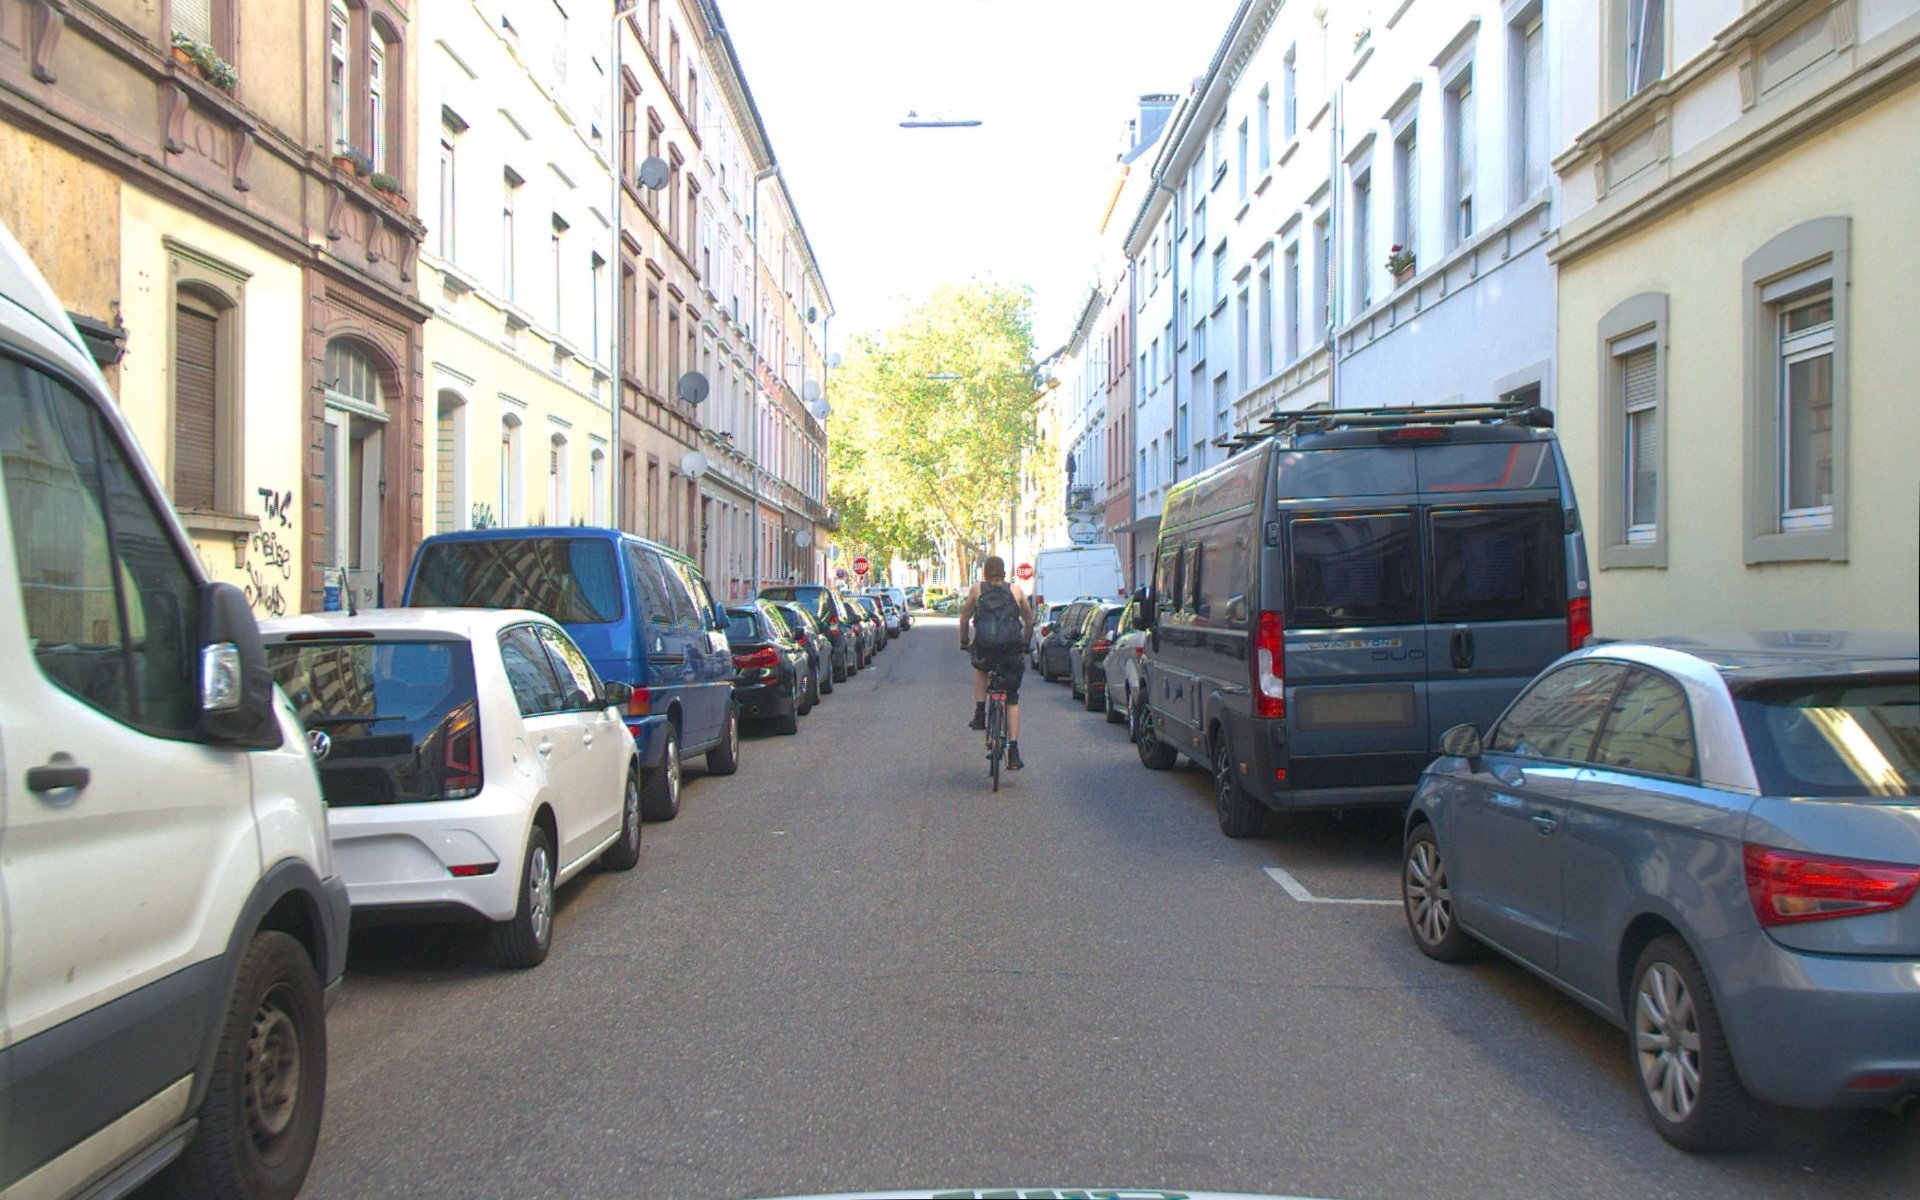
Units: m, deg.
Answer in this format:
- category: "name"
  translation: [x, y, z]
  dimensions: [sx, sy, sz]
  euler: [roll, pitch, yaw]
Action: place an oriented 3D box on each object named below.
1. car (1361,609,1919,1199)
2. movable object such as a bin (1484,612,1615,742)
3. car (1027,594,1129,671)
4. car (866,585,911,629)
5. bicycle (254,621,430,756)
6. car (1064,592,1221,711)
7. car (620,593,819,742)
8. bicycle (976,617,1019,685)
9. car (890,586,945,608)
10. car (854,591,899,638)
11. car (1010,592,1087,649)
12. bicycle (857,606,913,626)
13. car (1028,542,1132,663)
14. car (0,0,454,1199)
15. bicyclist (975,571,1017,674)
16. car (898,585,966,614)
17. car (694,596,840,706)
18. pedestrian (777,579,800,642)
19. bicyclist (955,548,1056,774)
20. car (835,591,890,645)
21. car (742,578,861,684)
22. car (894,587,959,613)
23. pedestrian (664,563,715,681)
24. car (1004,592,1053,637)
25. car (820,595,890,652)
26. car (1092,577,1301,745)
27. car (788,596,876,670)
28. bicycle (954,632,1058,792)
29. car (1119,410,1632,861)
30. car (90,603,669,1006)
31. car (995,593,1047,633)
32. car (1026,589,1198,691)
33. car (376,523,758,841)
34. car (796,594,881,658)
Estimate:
- category: "car"
  translation: [2.857, 0.793, 6.128]
  dimensions: [1.712, 1.469, 4.171]
  euler: [0, 0, 0]
- category: "movable object such as a bin"
  translation: [5.221, 0.667, 14.687]
  dimensions: [0.846, 1.060, 0.707]
  euler: [-3, 0, -3]
- category: "car"
  translation: [2.332, 0.612, 33.510]
  dimensions: [1.690, 1.454, 3.831]
  euler: [-1, 0, -2]
- category: "car"
  translation: [-3.001, 0.274, 70.056]
  dimensions: [1.751, 1.767, 3.875]
  euler: [-1, 0, -1]
- category: "bicycle"
  translation: [-5.505, 0.755, 14.875]
  dimensions: [0.739, 1.038, 2.029]
  euler: [3, 0, 1]
- category: "car"
  translation: [2.514, 0.660, 23.677]
  dimensions: [1.710, 1.511, 4.242]
  euler: [-1, 0, -1]
- category: "car"
  translation: [-2.691, 0.690, 19.487]
  dimensions: [1.824, 1.465, 4.643]
  euler: [-1, 1, -2]
- category: "bicycle"
  translation: [0.618, 0.833, 27.800]
  dimensions: [0.650, 1.055, 1.958]
  euler: [-1, 0, 0]
- category: "car"
  translation: [-3.456, -0.259, 134.543]
  dimensions: [4.381, 1.725, 1.864]
  euler: [-1, 0, -5]
- category: "car"
  translation: [-2.922, 0.474, 57.855]
  dimensions: [1.513, 1.578, 3.463]
  euler: [-1, 0, -3]
- category: "car"
  translation: [2.388, 0.527, 45.484]
  dimensions: [1.696, 1.496, 4.019]
  euler: [-1, 0, -3]
- category: "bicycle"
  translation: [-3.610, 0.756, 79.704]
  dimensions: [2.661, 0.907, 0.618]
  euler: [-1, 0, -3]
- category: "car"
  translation: [2.728, 0.032, 38.957]
  dimensions: [2.159, 2.595, 6.037]
  euler: [-1, 0, 2]
- category: "car"
  translation: [-2.584, 0.276, 2.144]
  dimensions: [2.124, 2.495, 5.919]
  euler: [-2, 0, -2]
- category: "bicyclist"
  translation: [0.602, 0.375, 27.744]
  dimensions: [0.656, 1.687, 0.877]
  euler: [-1, 0, 0]
- category: "car"
  translation: [-1.870, -0.041, 109.306]
  dimensions: [4.381, 1.790, 1.864]
  euler: [-1, 0, -5]
- category: "car"
  translation: [-2.780, 0.693, 24.548]
  dimensions: [1.701, 1.452, 4.000]
  euler: [-1, 0, 0]
- category: "pedestrian"
  translation: [-5.214, 0.313, 50.332]
  dimensions: [0.598, 1.890, 0.754]
  euler: [2, 0, -1]
- category: "bicyclist"
  translation: [0.350, 0.466, 13.188]
  dimensions: [0.725, 1.708, 1.116]
  euler: [1, 0, -1]
- category: "car"
  translation: [-2.941, 0.530, 50.479]
  dimensions: [1.572, 1.556, 3.377]
  euler: [-2, 0, -2]
- category: "car"
  translation: [-2.848, 0.528, 30.506]
  dimensions: [1.764, 1.728, 4.000]
  euler: [-3, 0, 0]
- category: "car"
  translation: [-2.336, -0.026, 114.331]
  dimensions: [4.381, 1.725, 1.864]
  euler: [-1, 0, -5]
- category: "pedestrian"
  translation: [-4.335, 0.341, 26.512]
  dimensions: [0.637, 1.849, 0.754]
  euler: [2, 0, 0]
- category: "car"
  translation: [2.397, 0.483, 58.281]
  dimensions: [1.559, 1.518, 3.875]
  euler: [-1, 0, 0]
- category: "car"
  translation: [-2.848, 0.610, 45.521]
  dimensions: [1.671, 1.438, 4.301]
  euler: [-1, 0, 0]
- category: "car"
  translation: [2.572, 0.602, 18.926]
  dimensions: [1.659, 1.636, 4.374]
  euler: [-2, 0, -1]
- category: "car"
  translation: [-2.695, 0.669, 35.486]
  dimensions: [1.559, 1.465, 3.654]
  euler: [-1, 0, 0]
- category: "bicycle"
  translation: [0.338, 0.853, 13.268]
  dimensions: [0.725, 1.120, 2.042]
  euler: [1, 0, -1]
- category: "car"
  translation: [2.645, 0.177, 12.449]
  dimensions: [2.131, 2.467, 6.308]
  euler: [-2, 0, -1]
- category: "car"
  translation: [-2.538, 0.775, 8.200]
  dimensions: [1.612, 1.472, 3.838]
  euler: [-1, 0, -2]
- category: "car"
  translation: [2.325, 0.475, 63.737]
  dimensions: [1.676, 1.496, 3.998]
  euler: [-1, 0, -2]
- category: "car"
  translation: [2.528, 0.617, 28.668]
  dimensions: [1.778, 1.503, 4.598]
  euler: [-4, 1, -10]
- category: "car"
  translation: [-2.772, 0.506, 12.792]
  dimensions: [1.790, 1.924, 4.613]
  euler: [-3, 0, 0]
- category: "car"
  translation: [-2.926, 0.592, 40.460]
  dimensions: [1.639, 1.455, 3.889]
  euler: [-1, 0, 2]
